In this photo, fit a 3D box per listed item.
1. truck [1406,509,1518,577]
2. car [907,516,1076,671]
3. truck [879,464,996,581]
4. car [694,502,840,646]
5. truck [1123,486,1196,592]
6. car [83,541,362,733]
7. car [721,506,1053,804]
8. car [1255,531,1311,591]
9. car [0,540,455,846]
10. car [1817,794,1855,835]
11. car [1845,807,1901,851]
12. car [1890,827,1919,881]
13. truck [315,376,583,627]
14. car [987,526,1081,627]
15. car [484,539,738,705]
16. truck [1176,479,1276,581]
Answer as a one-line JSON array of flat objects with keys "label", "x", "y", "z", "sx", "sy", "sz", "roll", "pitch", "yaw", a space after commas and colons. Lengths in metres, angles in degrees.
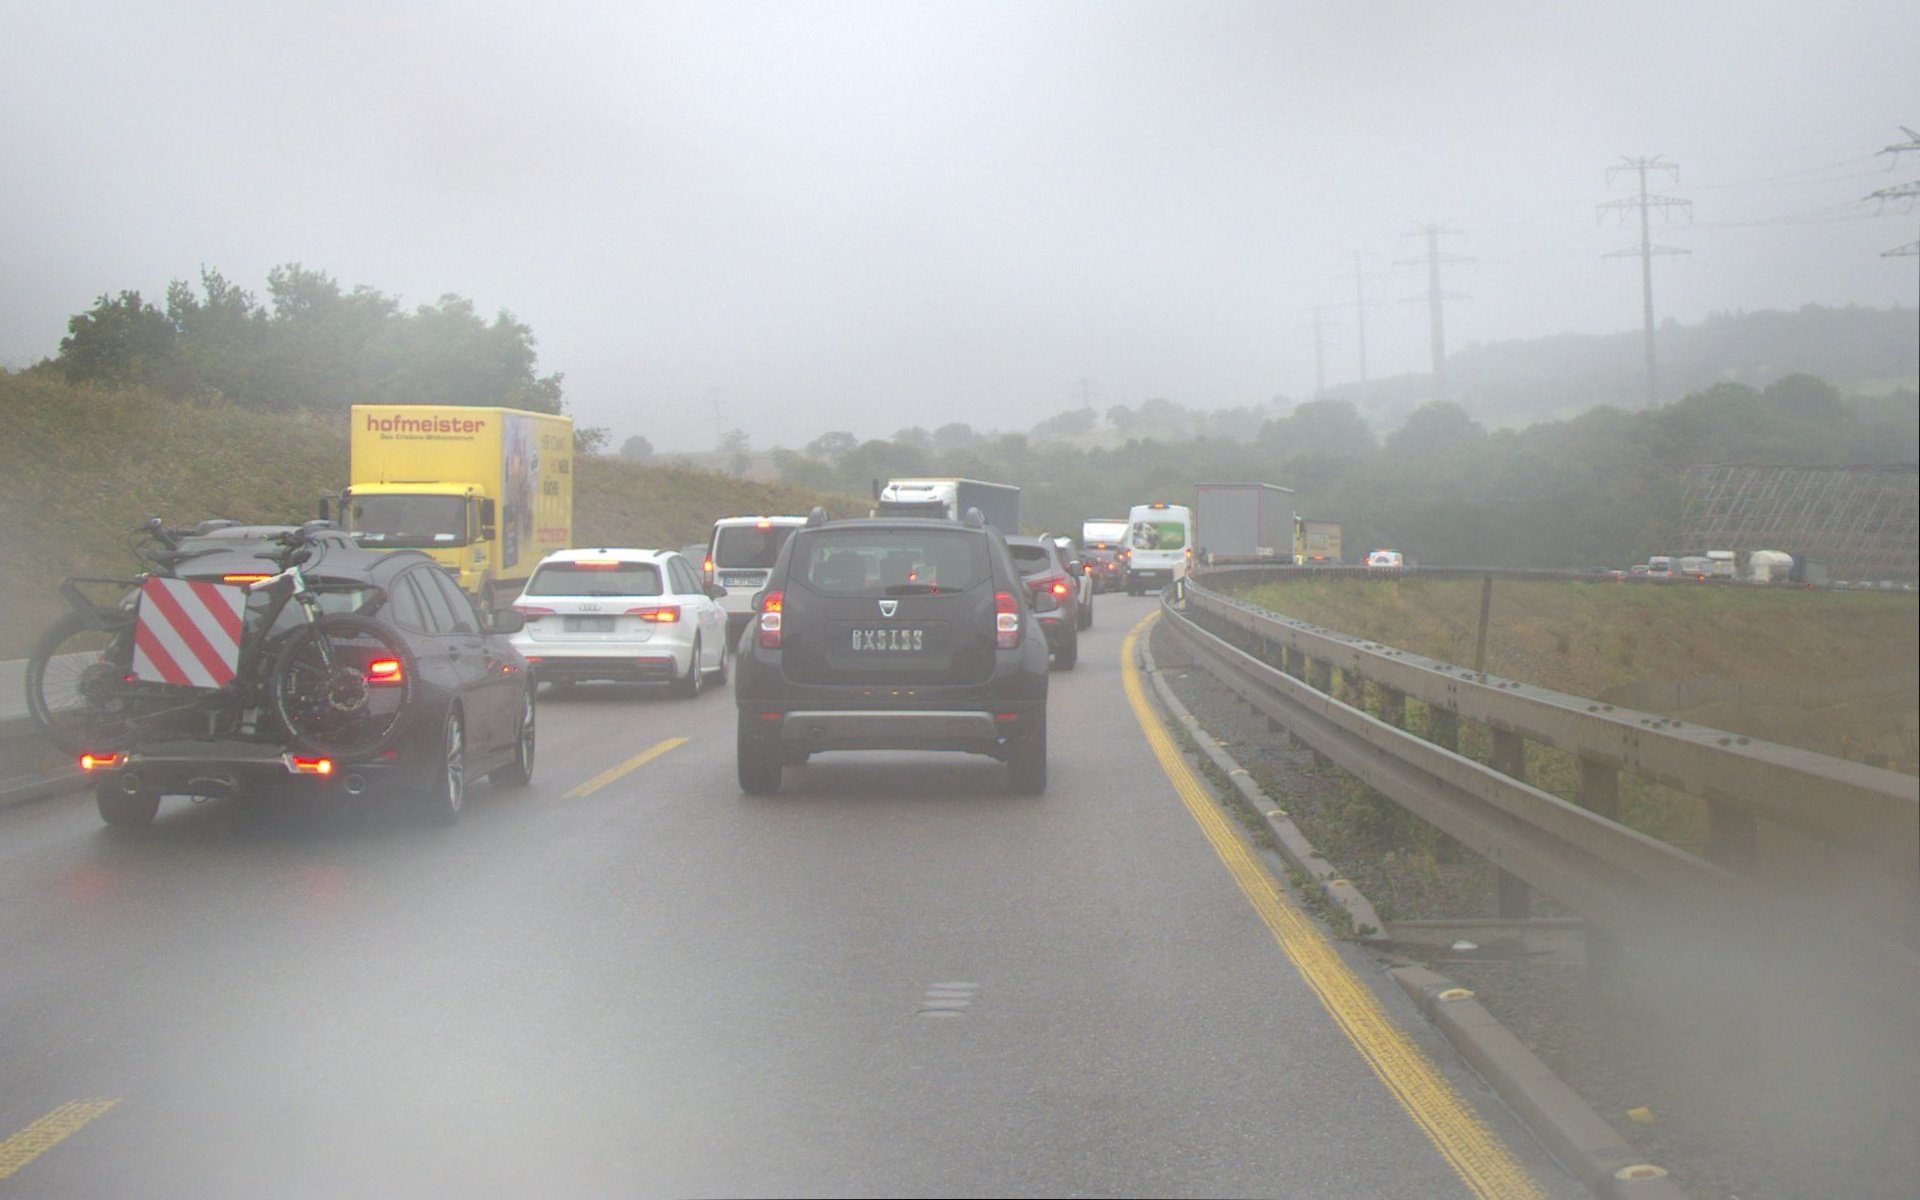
[{"label": "truck", "x": 32.242, "y": -3.623, "z": 220.061, "sx": 4.721, "sy": 4.135, "sz": 15.670, "roll": 2, "pitch": 1, "yaw": 17}, {"label": "car", "x": 0.411, "y": -0.110, "z": 40.542, "sx": 1.867, "sy": 1.702, "sz": 4.000, "roll": 1, "pitch": 1, "yaw": 2}, {"label": "truck", "x": -0.742, "y": -2.883, "z": 129.371, "sx": 2.933, "sy": 4.083, "sz": 14.388, "roll": 1, "pitch": 1, "yaw": 5}, {"label": "car", "x": -2.633, "y": -0.381, "z": 47.713, "sx": 1.660, "sy": 1.873, "sz": 4.020, "roll": 1, "pitch": 1, "yaw": 2}, {"label": "truck", "x": 6.259, "y": -1.900, "z": 107.265, "sx": 2.149, "sy": 3.155, "sz": 6.459, "roll": 1, "pitch": 1, "yaw": 4}, {"label": "car", "x": -6.644, "y": 0.283, "z": 31.362, "sx": 1.760, "sy": 1.592, "sz": 4.000, "roll": 1, "pitch": 1, "yaw": -2}, {"label": "car", "x": -0.355, "y": 0.271, "z": 20.872, "sx": 1.804, "sy": 1.640, "sz": 3.776, "roll": 0, "pitch": 1, "yaw": 2}, {"label": "car", "x": 10.700, "y": -1.298, "z": 113.666, "sx": 1.775, "sy": 1.909, "sz": 3.999, "roll": 1, "pitch": 1, "yaw": 6}, {"label": "car", "x": -3.984, "y": 0.417, "z": 18.469, "sx": 1.829, "sy": 1.471, "sz": 3.776, "roll": 0, "pitch": 1, "yaw": 3}, {"label": "car", "x": 50.974, "y": 12.454, "z": 200.073, "sx": 1.995, "sy": 2.007, "sz": 3.997, "roll": 2, "pitch": 1, "yaw": 16}, {"label": "car", "x": 44.770, "y": 11.203, "z": 168.626, "sx": 1.994, "sy": 1.809, "sz": 3.999, "roll": 1, "pitch": 1, "yaw": 5}, {"label": "car", "x": 42.547, "y": 11.181, "z": 151.082, "sx": 2.365, "sy": 2.007, "sz": 4.000, "roll": 1, "pitch": 1, "yaw": 3}, {"label": "truck", "x": -8.646, "y": -1.659, "z": 59.220, "sx": 2.769, "sy": 3.983, "sz": 8.422, "roll": 1, "pitch": 1, "yaw": 4}, {"label": "car", "x": 1.242, "y": -0.432, "z": 58.774, "sx": 1.530, "sy": 1.635, "sz": 4.013, "roll": 1, "pitch": 1, "yaw": 1}, {"label": "car", "x": -3.322, "y": 0.159, "z": 33.507, "sx": 1.867, "sy": 1.455, "sz": 4.548, "roll": 1, "pitch": 1, "yaw": 2}, {"label": "truck", "x": 10.355, "y": -2.713, "z": 133.109, "sx": 3.201, "sy": 3.748, "sz": 8.507, "roll": 1, "pitch": 1, "yaw": 8}]
